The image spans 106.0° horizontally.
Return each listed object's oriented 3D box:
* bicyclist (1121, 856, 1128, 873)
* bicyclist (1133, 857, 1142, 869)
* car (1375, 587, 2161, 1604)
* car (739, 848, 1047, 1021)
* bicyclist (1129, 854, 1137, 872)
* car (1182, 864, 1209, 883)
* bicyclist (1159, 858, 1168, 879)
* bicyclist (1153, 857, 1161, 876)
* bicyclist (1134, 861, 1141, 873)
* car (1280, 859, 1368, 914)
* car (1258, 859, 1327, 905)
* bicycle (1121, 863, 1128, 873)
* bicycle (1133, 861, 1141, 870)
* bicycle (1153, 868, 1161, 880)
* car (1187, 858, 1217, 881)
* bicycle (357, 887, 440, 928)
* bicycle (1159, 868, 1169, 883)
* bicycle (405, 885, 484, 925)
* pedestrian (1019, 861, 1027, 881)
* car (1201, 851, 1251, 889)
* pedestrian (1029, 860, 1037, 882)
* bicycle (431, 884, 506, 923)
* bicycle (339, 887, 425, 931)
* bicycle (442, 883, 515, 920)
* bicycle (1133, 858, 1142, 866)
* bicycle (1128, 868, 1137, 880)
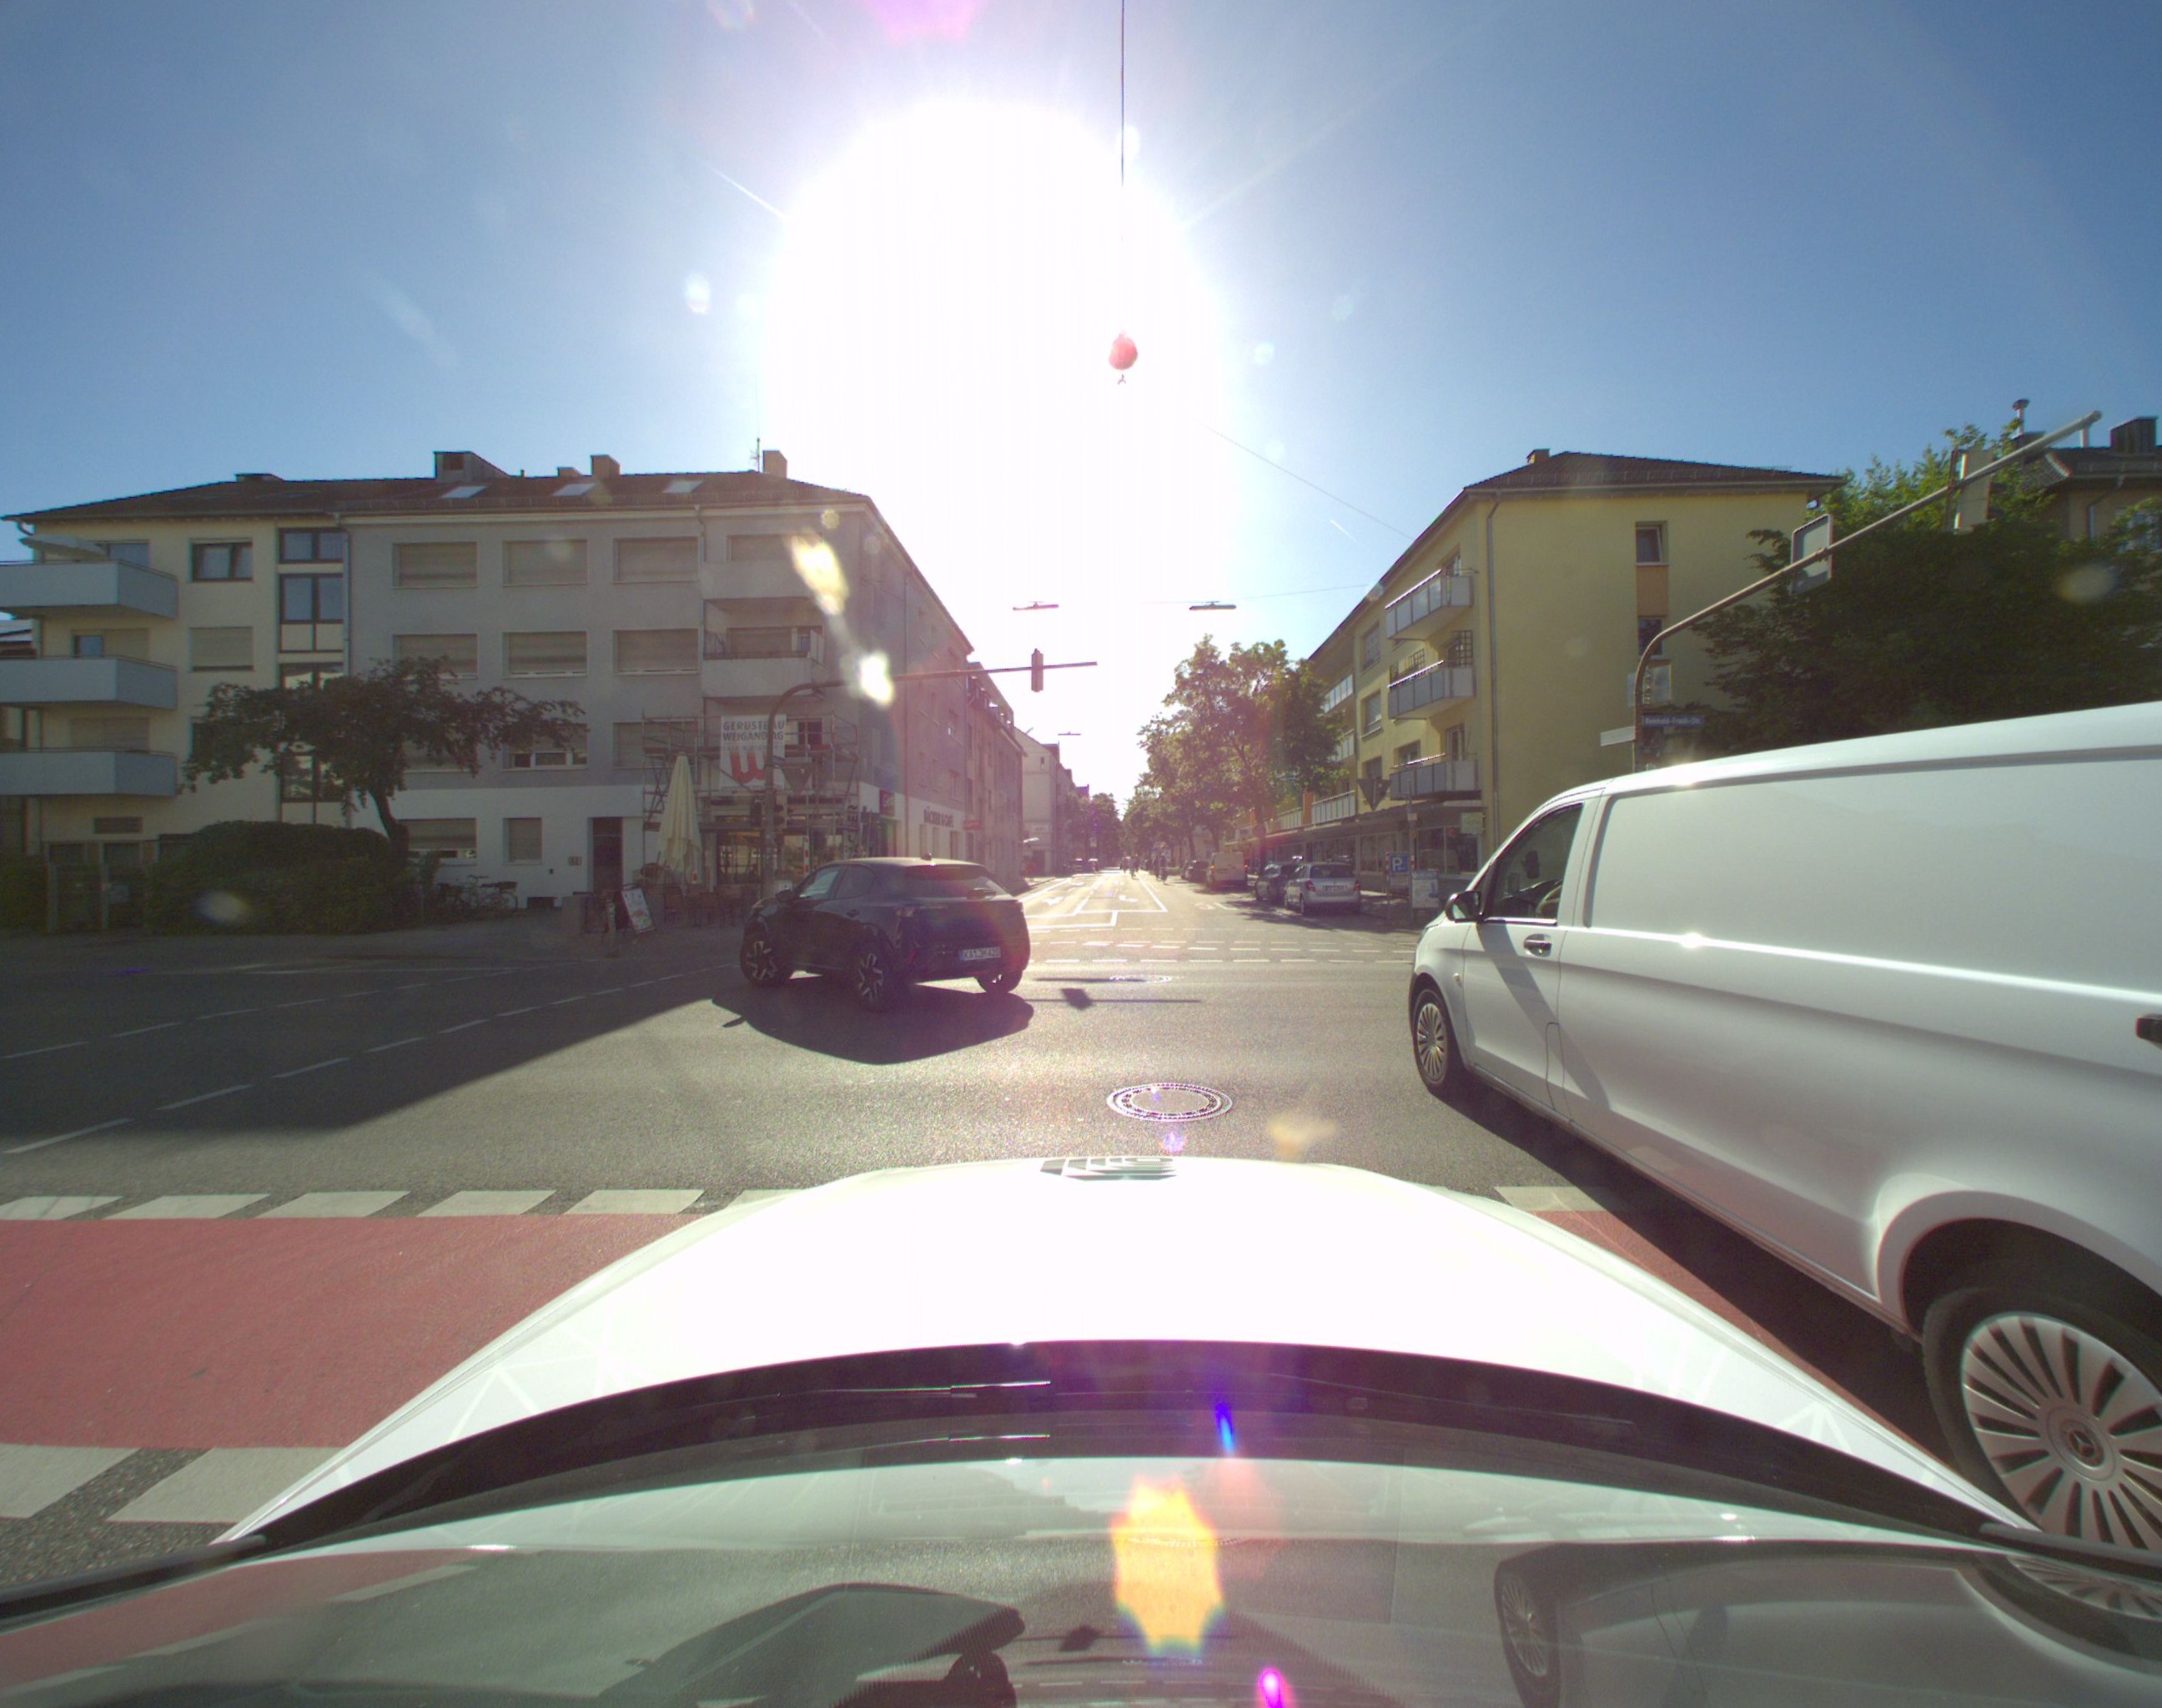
[{"bbox_3d":[4.272,1.067,80.569,0.630,1.669,1.051,-1,-1,2],"label":"bicyclist"},{"bbox_3d":[6.269,0.964,90.208,0.853,1.314,1.211,1,0,2],"label":"bicyclist"},{"bbox_3d":[2.938,0.442,3.107,1.961,1.810,4.834,-1,-1,1],"label":"car"},{"bbox_3d":[-2.347,0.763,9.448,1.778,1.558,3.951,0,-1,-42],"label":"car"},{"bbox_3d":[3.941,0.685,62.251,0.586,1.382,0.823,-1,-1,4],"label":"bicyclist"},{"bbox_3d":[8.553,1.445,60.860,1.705,1.314,3.383,-1,0,3],"label":"car"},{"bbox_3d":[5.078,0.894,50.161,0.544,1.262,0.803,-1,-1,4],"label":"bicyclist"},{"bbox_3d":[5.418,0.891,58.227,0.544,1.382,0.823,-1,-1,4],"label":"bicyclist"},{"bbox_3d":[5.568,1.298,80.843,0.689,1.193,0.595,-1,-1,3],"label":"bicyclist"},{"bbox_3d":[7.081,0.891,24.023,1.705,1.483,3.482,-1,0,3],"label":"car"},{"bbox_3d":[7.350,0.946,28.585,1.705,1.483,3.383,-1,0,3],"label":"car"},{"bbox_3d":[4.307,1.385,80.938,0.629,1.041,1.796,-1,0,2],"label":"bicycle"},{"bbox_3d":[5.564,1.167,80.938,0.688,0.866,1.878,-1,0,4],"label":"bicycle"},{"bbox_3d":[5.431,1.431,58.308,0.544,0.866,1.878,-1,0,4],"label":"bicycle"},{"bbox_3d":[8.115,1.024,54.910,1.705,1.483,3.383,-1,0,3],"label":"car"},{"bbox_3d":[-16.273,1.270,19.427,1.581,0.940,0.513,-1,-1,4],"label":"bicycle"},{"bbox_3d":[5.073,1.317,50.047,0.544,0.866,1.878,-1,0,4],"label":"bicycle"},{"bbox_3d":[-15.682,1.259,20.083,1.581,0.940,0.513,-1,-1,4],"label":"bicycle"},{"bbox_3d":[-4.235,1.220,59.737,0.575,1.467,0.702,-1,-1,-3],"label":"pedestrian"},{"bbox_3d":[7.513,0.787,42.569,2.037,1.846,4.588,-1,0,4],"label":"car"},{"bbox_3d":[-3.526,1.225,59.523,0.575,1.583,0.707,-1,-1,-3],"label":"pedestrian"},{"bbox_3d":[-15.687,1.272,20.868,1.581,0.940,0.513,-1,-1,4],"label":"bicycle"},{"bbox_3d":[-15.974,1.258,18.622,1.581,0.940,0.513,-1,-1,4],"label":"bicycle"},{"bbox_3d":[-15.952,1.256,21.585,1.581,0.940,0.513,-1,-1,4],"label":"bicycle"},{"bbox_3d":[6.276,0.874,90.231,0.853,0.945,2.309,1,0,2],"label":"bicycle"},{"bbox_3d":[3.945,1.485,62.092,0.617,0.866,1.878,-1,0,4],"label":"bicycle"}]
